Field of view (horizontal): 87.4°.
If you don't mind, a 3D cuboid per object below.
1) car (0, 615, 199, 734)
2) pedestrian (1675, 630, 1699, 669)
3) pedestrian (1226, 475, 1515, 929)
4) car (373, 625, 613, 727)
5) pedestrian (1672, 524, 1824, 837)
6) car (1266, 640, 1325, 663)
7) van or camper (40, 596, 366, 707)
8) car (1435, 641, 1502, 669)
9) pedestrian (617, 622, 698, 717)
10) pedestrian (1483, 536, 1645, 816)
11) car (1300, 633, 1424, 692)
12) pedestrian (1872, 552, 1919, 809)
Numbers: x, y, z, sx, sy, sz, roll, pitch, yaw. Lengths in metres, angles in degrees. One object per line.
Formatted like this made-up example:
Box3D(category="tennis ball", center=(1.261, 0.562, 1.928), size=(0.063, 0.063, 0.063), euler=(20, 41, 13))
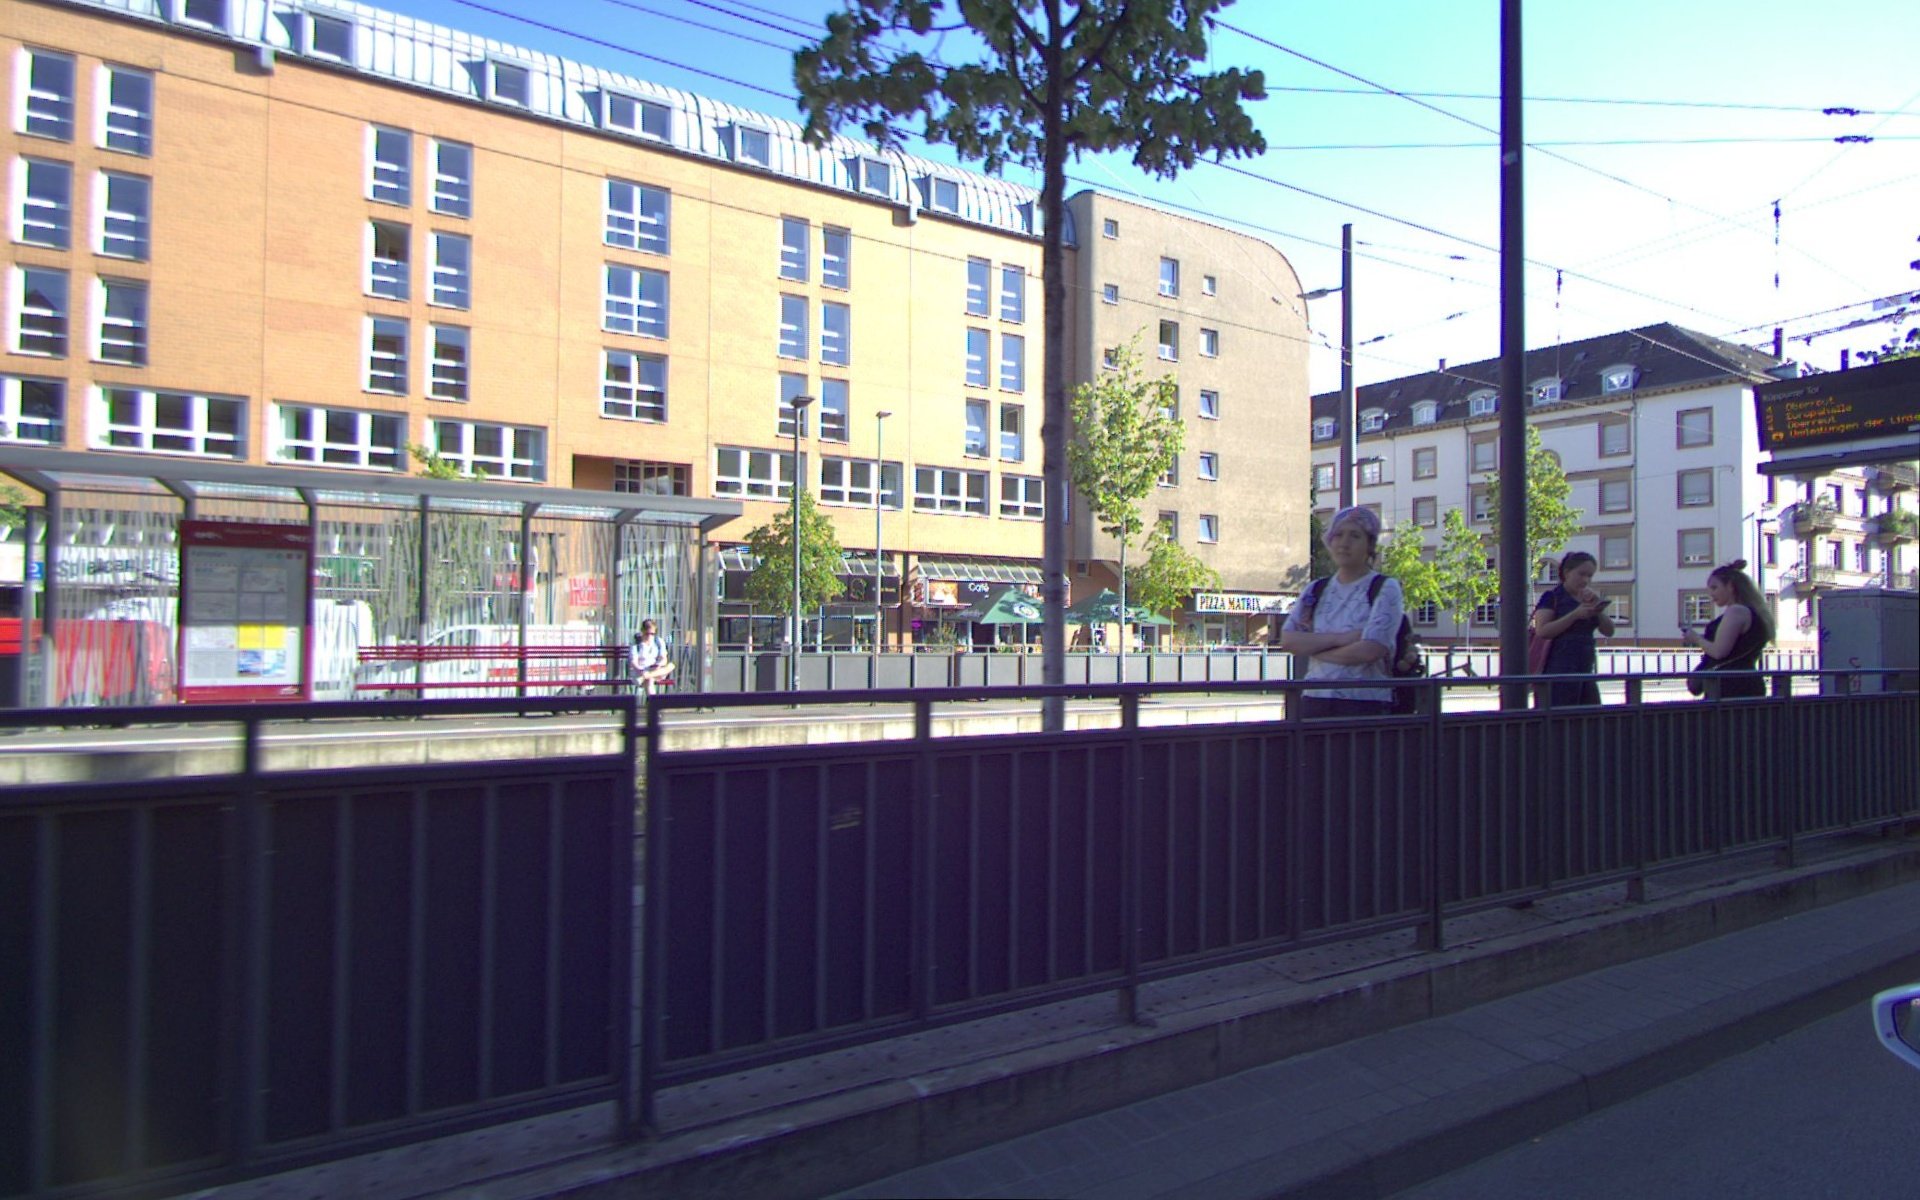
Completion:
Box3D(category="car", center=(-15.614, 1.220, 16.894), size=(4.265, 1.891, 1.877), euler=(1, -2, -31))
Box3D(category="pedestrian", center=(38.506, 2.631, 53.206), size=(0.618, 2.040, 0.797), euler=(0, -2, -29))
Box3D(category="pedestrian", center=(1.631, 0.371, 4.025), size=(0.895, 1.582, 0.670), euler=(1, -2, -30))
Box3D(category="car", center=(-9.434, 1.466, 20.506), size=(4.260, 1.891, 1.879), euler=(0, -2, -27))
Box3D(category="pedestrian", center=(4.731, 0.465, 6.038), size=(0.644, 1.755, 0.502), euler=(1, -2, -30))
Box3D(category="car", center=(22.915, 3.485, 68.608), size=(3.960, 1.521, 1.825), euler=(1, -2, -35))
Box3D(category="van or camper", center=(-16.586, 1.061, 22.484), size=(5.545, 2.198, 1.986), euler=(-1, -1, -28))
Box3D(category="car", center=(29.805, 3.213, 58.853), size=(3.960, 1.521, 1.825), euler=(1, -2, -35))
Box3D(category="pedestrian", center=(-4.019, 0.905, 13.337), size=(0.895, 1.205, 0.670), euler=(1, -2, -30))
Box3D(category="pedestrian", center=(4.068, 0.493, 6.789), size=(0.644, 1.755, 0.716), euler=(1, -2, -30))
Box3D(category="car", center=(14.874, 2.267, 37.199), size=(4.089, 2.040, 1.989), euler=(0, -2, -24))
Box3D(category="pedestrian", center=(6.638, 0.541, 6.802), size=(0.644, 1.701, 0.502), euler=(1, -2, -30))
